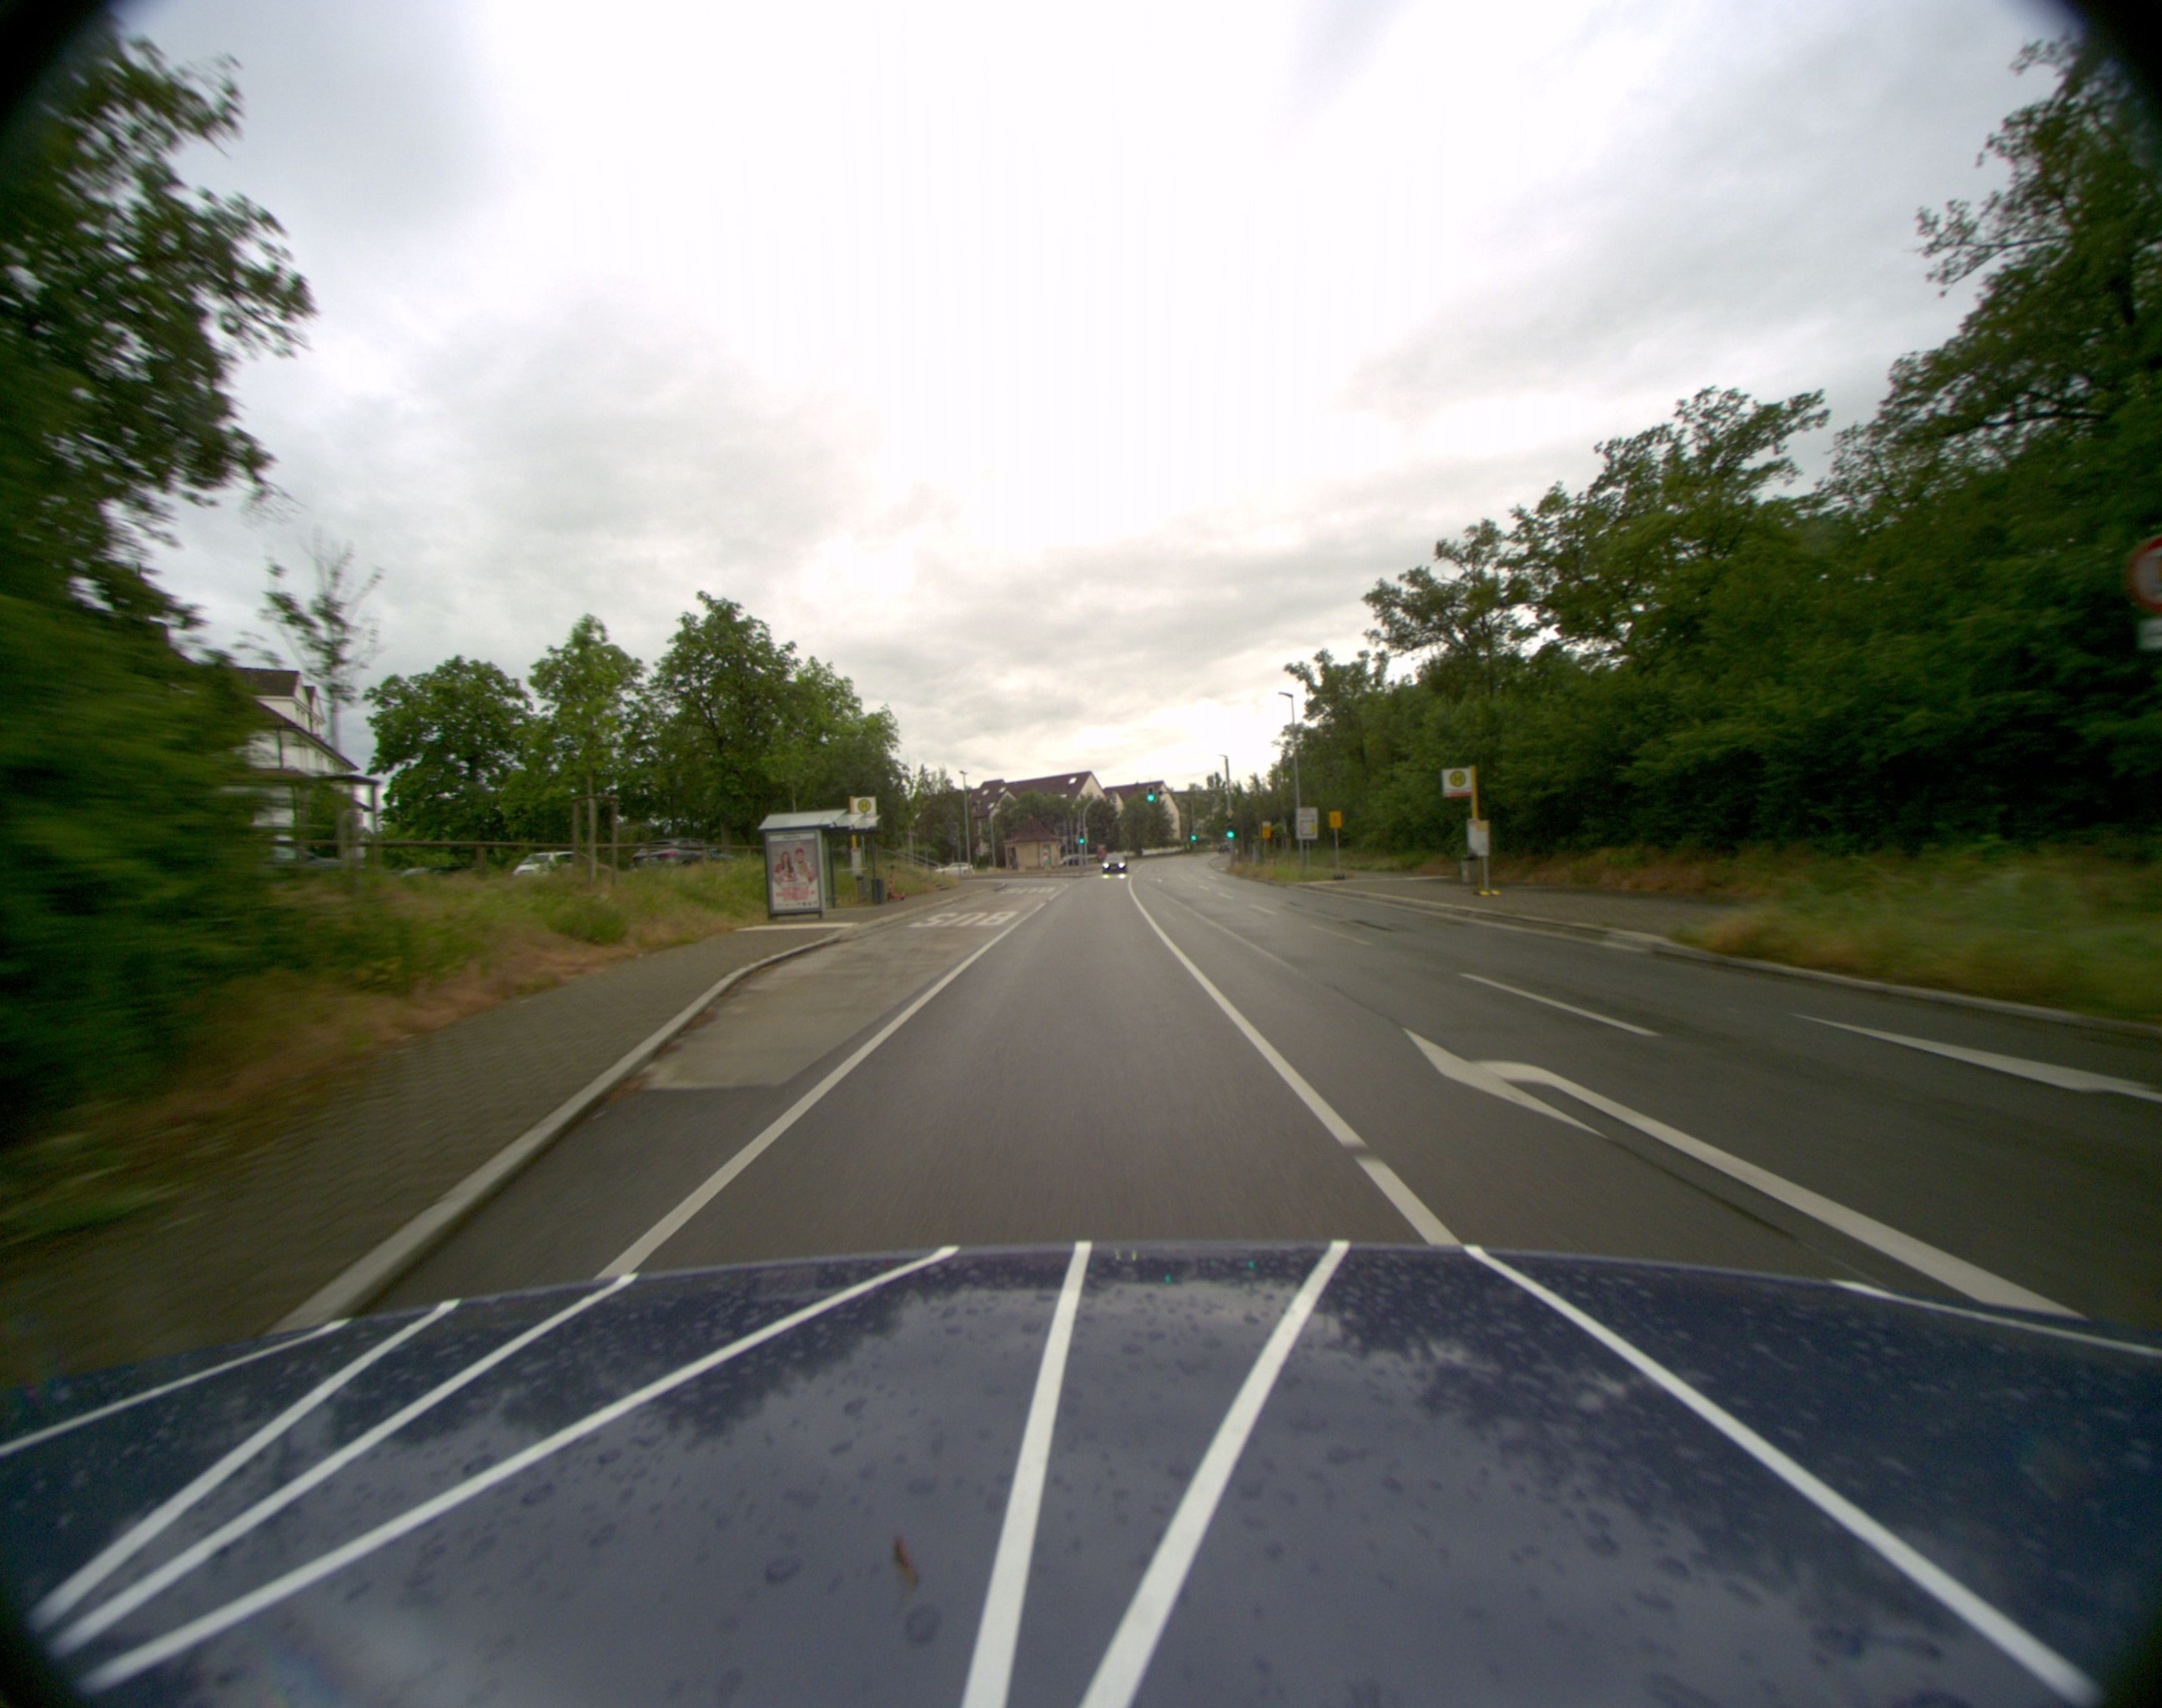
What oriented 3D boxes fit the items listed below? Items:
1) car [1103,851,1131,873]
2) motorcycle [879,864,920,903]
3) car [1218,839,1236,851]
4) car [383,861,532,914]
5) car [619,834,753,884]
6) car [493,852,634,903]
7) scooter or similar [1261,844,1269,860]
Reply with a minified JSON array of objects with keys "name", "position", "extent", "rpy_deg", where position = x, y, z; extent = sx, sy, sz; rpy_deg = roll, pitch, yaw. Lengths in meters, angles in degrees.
[{"name":"car","position":[2.736,0.588,58.669],"extent":[1.945,1.446,4.603],"rpy_deg":[-2,1,1]},{"name":"motorcycle","position":[-6.328,1.019,26.568],"extent":[0.589,1.281,1.539],"rpy_deg":[-2,1,18]},{"name":"car","position":[21.561,-1.371,112.027],"extent":[1.791,1.572,4.567],"rpy_deg":[-2,1,20]},{"name":"car","position":[-23.758,1.230,29.160],"extent":[1.997,1.652,4.002],"rpy_deg":[-6,0,8]},{"name":"car","position":[-14.076,0.116,27.396],"extent":[1.997,1.471,4.286],"rpy_deg":[-5,1,9]},{"name":"car","position":[-18.883,0.805,27.977],"extent":[1.889,1.471,4.070],"rpy_deg":[-5,1,9]},{"name":"scooter or similar","position":[14.455,-0.165,59.736],"extent":[0.518,1.205,1.470],"rpy_deg":[-3,1,11]}]
